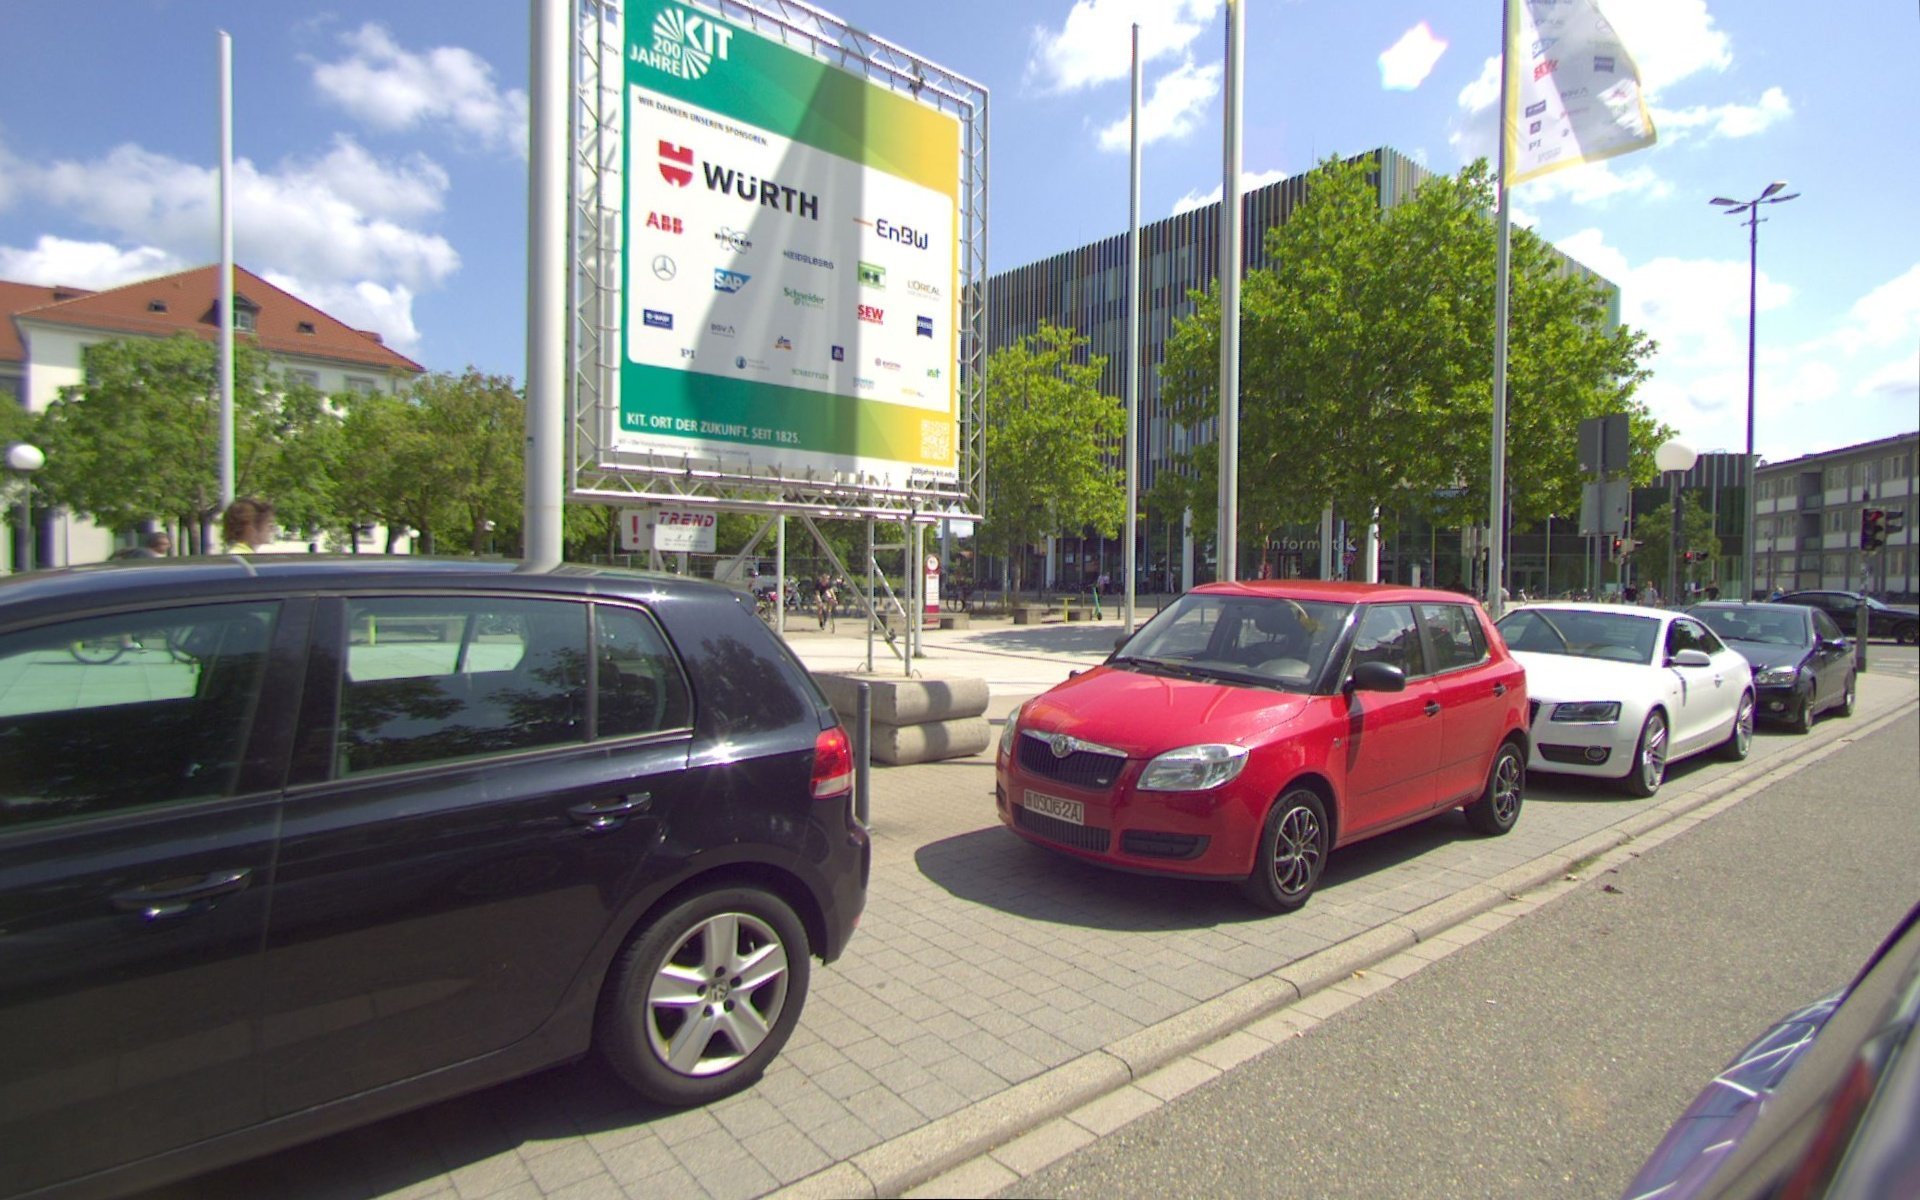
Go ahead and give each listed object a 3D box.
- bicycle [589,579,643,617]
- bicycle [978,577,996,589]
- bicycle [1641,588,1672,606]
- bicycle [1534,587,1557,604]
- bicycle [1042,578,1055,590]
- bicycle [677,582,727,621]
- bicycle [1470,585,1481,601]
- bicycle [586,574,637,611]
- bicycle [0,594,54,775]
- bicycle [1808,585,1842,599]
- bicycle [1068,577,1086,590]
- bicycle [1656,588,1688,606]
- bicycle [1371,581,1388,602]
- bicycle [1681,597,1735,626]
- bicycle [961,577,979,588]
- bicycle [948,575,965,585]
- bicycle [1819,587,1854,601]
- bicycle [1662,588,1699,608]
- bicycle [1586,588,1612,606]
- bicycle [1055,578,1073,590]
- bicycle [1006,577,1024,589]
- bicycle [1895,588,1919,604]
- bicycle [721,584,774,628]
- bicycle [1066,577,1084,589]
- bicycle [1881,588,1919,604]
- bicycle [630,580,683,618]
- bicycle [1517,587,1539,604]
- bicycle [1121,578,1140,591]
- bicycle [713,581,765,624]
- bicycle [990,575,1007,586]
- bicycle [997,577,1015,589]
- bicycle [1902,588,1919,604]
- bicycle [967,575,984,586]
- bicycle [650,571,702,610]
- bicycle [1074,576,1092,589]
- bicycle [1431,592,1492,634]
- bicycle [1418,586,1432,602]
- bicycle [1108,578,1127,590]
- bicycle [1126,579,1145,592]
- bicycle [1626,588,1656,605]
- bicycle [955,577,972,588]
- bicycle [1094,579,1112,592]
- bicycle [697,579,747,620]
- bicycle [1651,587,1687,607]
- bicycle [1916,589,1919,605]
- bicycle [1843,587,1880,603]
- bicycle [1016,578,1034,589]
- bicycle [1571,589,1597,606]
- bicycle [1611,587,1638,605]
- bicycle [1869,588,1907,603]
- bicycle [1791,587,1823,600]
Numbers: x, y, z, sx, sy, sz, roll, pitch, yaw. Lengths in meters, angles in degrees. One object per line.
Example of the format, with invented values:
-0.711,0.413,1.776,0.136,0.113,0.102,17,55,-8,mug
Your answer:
-10.245,-0.076,30.198,0.596,1.112,1.757,0,1,19,bicycle
2.476,-1.543,92.005,1.754,0.967,0.432,-3,3,-41,bicycle
40.886,-0.191,59.456,0.519,0.967,1.775,0,2,-2,bicycle
35.321,-0.272,61.049,0.520,0.967,1.771,-2,2,6,bicycle
7.417,-1.368,84.682,0.372,0.967,1.525,1,3,38,bicycle
-7.667,0.021,30.189,0.596,1.112,1.757,0,1,19,bicycle
31.540,-0.440,61.951,0.524,0.967,1.755,1,2,29,bicycle
-11.289,-0.258,32.839,0.596,1.112,1.758,0,3,19,bicycle
-6.289,0.538,5.482,0.886,1.092,2.156,1,1,-2,bicycle
63.065,-0.581,73.773,1.753,0.967,0.525,2,3,22,bicycle
9.643,-1.364,83.363,1.515,0.967,0.374,-2,2,-25,bicycle
41.596,-0.186,59.159,0.519,0.967,1.775,0,2,-2,bicycle
26.171,-0.527,63.102,1.520,1.201,0.373,-3,4,-42,bicycle
31.113,0.458,42.129,1.652,1.138,0.690,1,1,22,bicycle
0.927,-1.636,94.022,1.754,0.967,0.432,-3,3,-41,bicycle
-0.343,-1.888,95.554,1.754,0.967,0.432,-3,3,-41,bicycle
62.780,-0.433,72.501,1.753,0.967,0.525,2,3,22,bicycle
36.890,-0.127,51.848,0.519,0.967,1.775,0,2,-2,bicycle
37.912,-0.191,60.071,0.519,0.967,1.772,1,2,4,bicycle
8.736,-1.379,84.705,1.515,0.967,0.374,-2,2,-25,bicycle
4.886,-1.497,89.355,1.754,0.967,0.432,-3,3,-41,bicycle
61.392,-0.252,65.098,1.753,0.967,0.525,2,3,22,bicycle
-5.777,0.143,27.572,0.596,1.112,1.758,0,3,19,bicycle
9.529,-1.404,83.774,1.515,0.967,0.374,-2,2,-25,bicycle
61.652,-0.271,66.385,1.753,0.967,0.525,2,3,22,bicycle
-9.074,-0.047,30.315,0.596,1.112,1.757,0,1,19,bicycle
34.322,-0.267,61.182,0.520,0.967,1.771,1,3,6,bicycle
13.361,-1.225,79.217,1.515,0.967,0.374,-2,2,-25,bicycle
-6.193,0.059,28.430,0.596,1.112,1.758,0,3,19,bicycle
3.460,-1.777,90.964,1.754,0.967,0.432,-3,3,-41,bicycle
4.134,-1.536,90.383,1.754,0.967,0.432,-3,3,-41,bicycle
61.070,-0.256,64.233,1.753,0.967,0.525,2,3,22,bicycle
1.443,-1.807,93.439,1.754,0.967,0.432,-3,3,-41,bicycle
-8.408,-0.281,29.990,0.596,1.112,1.757,1,1,19,bicycle
10.042,-1.435,82.839,1.515,0.967,0.374,-2,2,-25,bicycle
14.449,0.374,29.129,1.856,1.086,0.817,4,0,-39,bicycle
28.689,-0.376,62.451,0.367,0.967,1.542,1,2,11,bicycle
12.471,-1.272,80.018,1.515,0.967,0.374,-2,2,-25,bicycle
13.651,-1.147,78.626,1.515,0.967,0.374,-2,2,-25,bicycle
40.217,-0.207,59.805,0.519,0.967,1.775,0,2,-2,bicycle
0.319,-1.667,94.694,1.754,0.967,0.432,-3,3,-41,bicycle
11.429,-1.170,80.766,1.515,0.967,0.374,-2,2,-25,bicycle
-6.968,-0.030,29.712,0.596,1.112,1.758,0,3,19,bicycle
36.306,-0.148,51.835,0.519,0.967,1.775,0,2,-2,bicycle
60.715,-0.186,62.913,1.755,0.967,0.525,2,3,25,bicycle
62.301,-0.350,69.954,1.753,0.967,0.525,2,3,22,bicycle
5.660,-1.454,88.412,1.754,0.967,0.432,-3,3,-41,bicycle
37.129,-0.140,60.227,0.519,0.967,1.772,1,2,4,bicycle
39.372,-0.239,59.974,0.519,0.967,1.772,1,2,4,bicycle
62.025,-0.296,67.646,1.753,0.967,0.525,2,3,22,bicycle
64.142,-0.499,76.647,1.753,0.967,0.525,2,3,22,bicycle
